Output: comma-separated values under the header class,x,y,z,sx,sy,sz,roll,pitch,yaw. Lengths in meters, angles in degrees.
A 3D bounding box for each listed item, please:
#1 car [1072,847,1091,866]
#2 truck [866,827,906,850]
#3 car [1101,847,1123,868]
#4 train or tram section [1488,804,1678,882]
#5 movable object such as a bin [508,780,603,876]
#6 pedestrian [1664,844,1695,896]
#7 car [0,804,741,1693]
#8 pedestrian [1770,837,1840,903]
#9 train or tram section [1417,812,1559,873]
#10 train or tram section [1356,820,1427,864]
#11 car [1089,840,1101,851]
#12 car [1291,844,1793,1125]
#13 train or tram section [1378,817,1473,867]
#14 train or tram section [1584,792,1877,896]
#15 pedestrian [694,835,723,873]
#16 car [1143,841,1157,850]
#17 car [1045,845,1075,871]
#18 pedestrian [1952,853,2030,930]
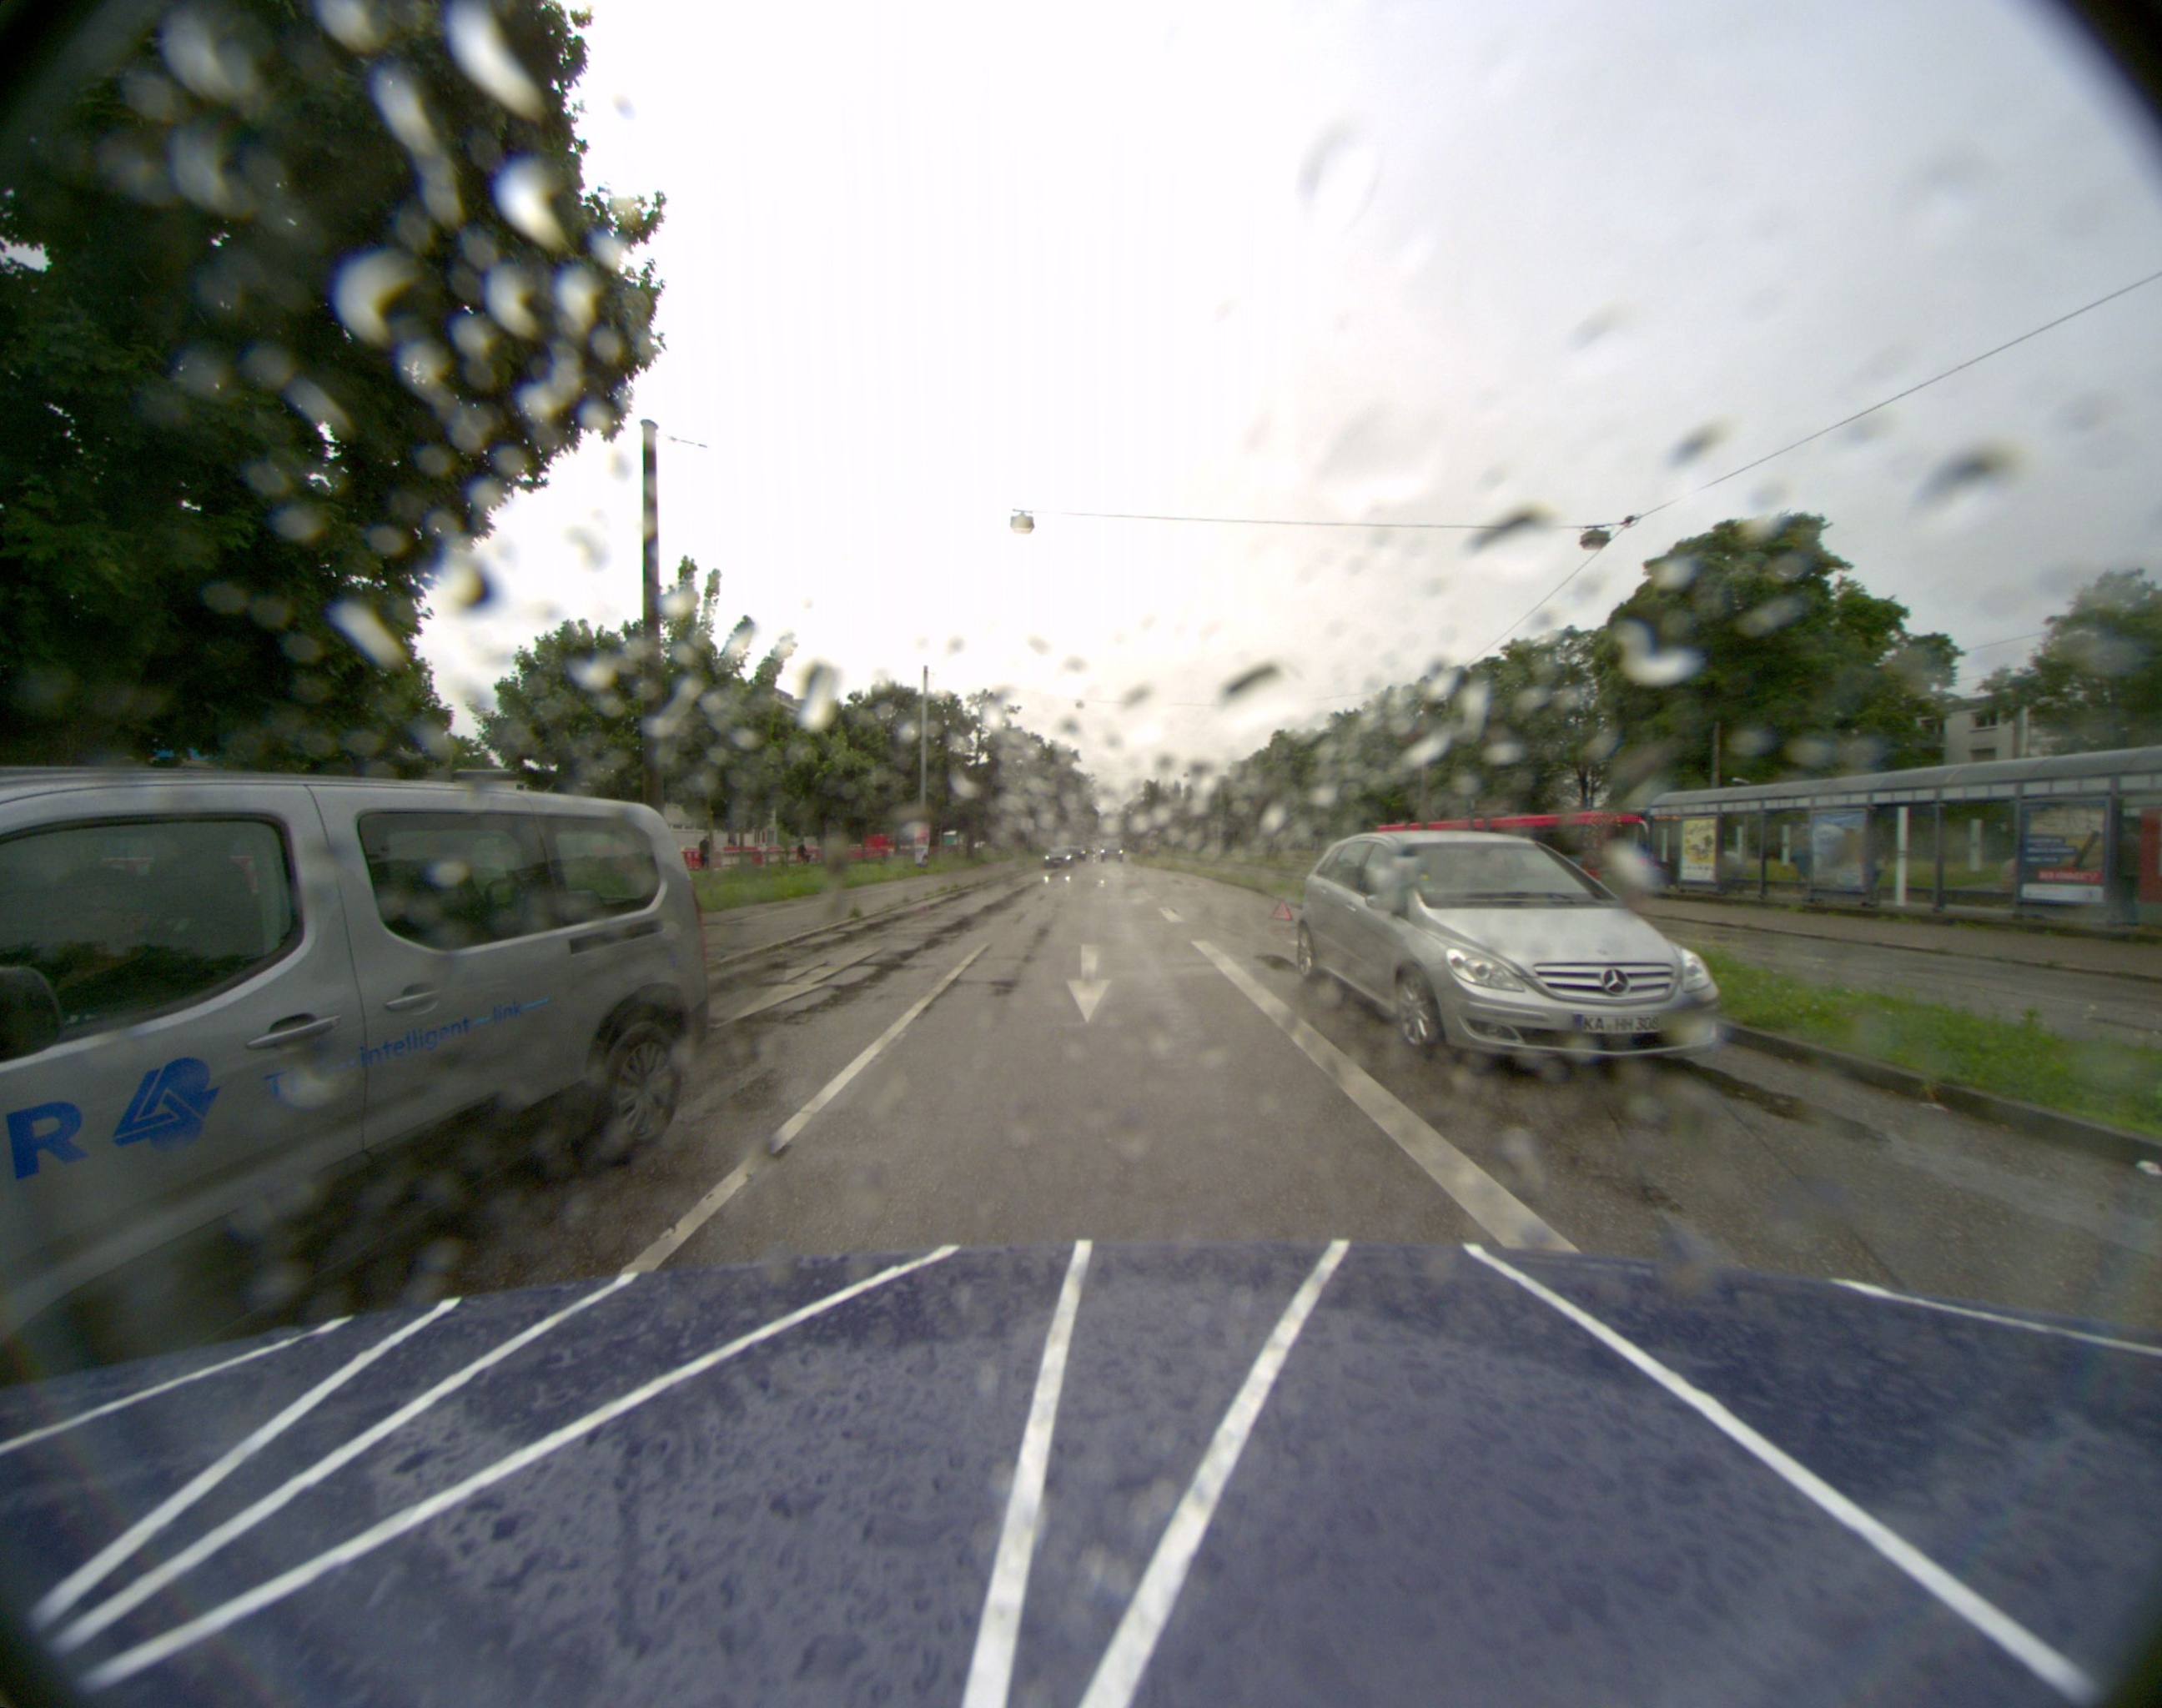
class,x,y,z,sx,sy,sz,roll,pitch,yaw
car,-0.011,0.207,70.986,1.651,1.652,3.775,-2,2,-1
truck,-25.430,-2.059,99.502,2.811,2.883,8.748,-2,2,1
car,2.685,0.258,65.773,1.812,1.683,3.776,-2,2,2
train or tram section,24.532,-0.566,38.013,3.541,3.371,9.277,0,1,2
movable object such as a bin,-25.577,-1.263,37.138,1.557,4.401,3.908,-1,2,3
pedestrian,18.093,0.478,22.979,0.522,1.553,0.602,-1,2,16
car,-3.170,0.789,2.428,1.998,1.785,4.561,-1,1,1
pedestrian,17.797,0.366,18.706,0.806,1.588,0.929,0,2,4
train or tram section,24.819,-0.730,47.266,3.541,3.381,10.260,0,1,2
train or tram section,25.295,-0.990,62.305,3.541,3.398,5.769,0,1,2
car,2.152,-1.399,119.370,1.726,1.643,3.999,-2,2,1
car,3.138,0.714,6.280,1.740,1.535,4.012,-1,1,1
train or tram section,25.099,-0.879,55.852,3.541,3.393,7.902,0,1,2
train or tram section,24.242,-0.403,29.440,3.541,3.370,9.277,0,1,2
pedestrian,-19.493,-0.032,39.771,0.814,1.925,1.212,-2,2,0
car,10.339,-1.281,113.919,1.684,1.353,4.250,2,1,-1
car,-1.369,0.244,51.273,1.858,1.583,3.999,-2,2,0
pedestrian,17.683,0.720,14.775,0.627,1.444,0.699,0,1,3
